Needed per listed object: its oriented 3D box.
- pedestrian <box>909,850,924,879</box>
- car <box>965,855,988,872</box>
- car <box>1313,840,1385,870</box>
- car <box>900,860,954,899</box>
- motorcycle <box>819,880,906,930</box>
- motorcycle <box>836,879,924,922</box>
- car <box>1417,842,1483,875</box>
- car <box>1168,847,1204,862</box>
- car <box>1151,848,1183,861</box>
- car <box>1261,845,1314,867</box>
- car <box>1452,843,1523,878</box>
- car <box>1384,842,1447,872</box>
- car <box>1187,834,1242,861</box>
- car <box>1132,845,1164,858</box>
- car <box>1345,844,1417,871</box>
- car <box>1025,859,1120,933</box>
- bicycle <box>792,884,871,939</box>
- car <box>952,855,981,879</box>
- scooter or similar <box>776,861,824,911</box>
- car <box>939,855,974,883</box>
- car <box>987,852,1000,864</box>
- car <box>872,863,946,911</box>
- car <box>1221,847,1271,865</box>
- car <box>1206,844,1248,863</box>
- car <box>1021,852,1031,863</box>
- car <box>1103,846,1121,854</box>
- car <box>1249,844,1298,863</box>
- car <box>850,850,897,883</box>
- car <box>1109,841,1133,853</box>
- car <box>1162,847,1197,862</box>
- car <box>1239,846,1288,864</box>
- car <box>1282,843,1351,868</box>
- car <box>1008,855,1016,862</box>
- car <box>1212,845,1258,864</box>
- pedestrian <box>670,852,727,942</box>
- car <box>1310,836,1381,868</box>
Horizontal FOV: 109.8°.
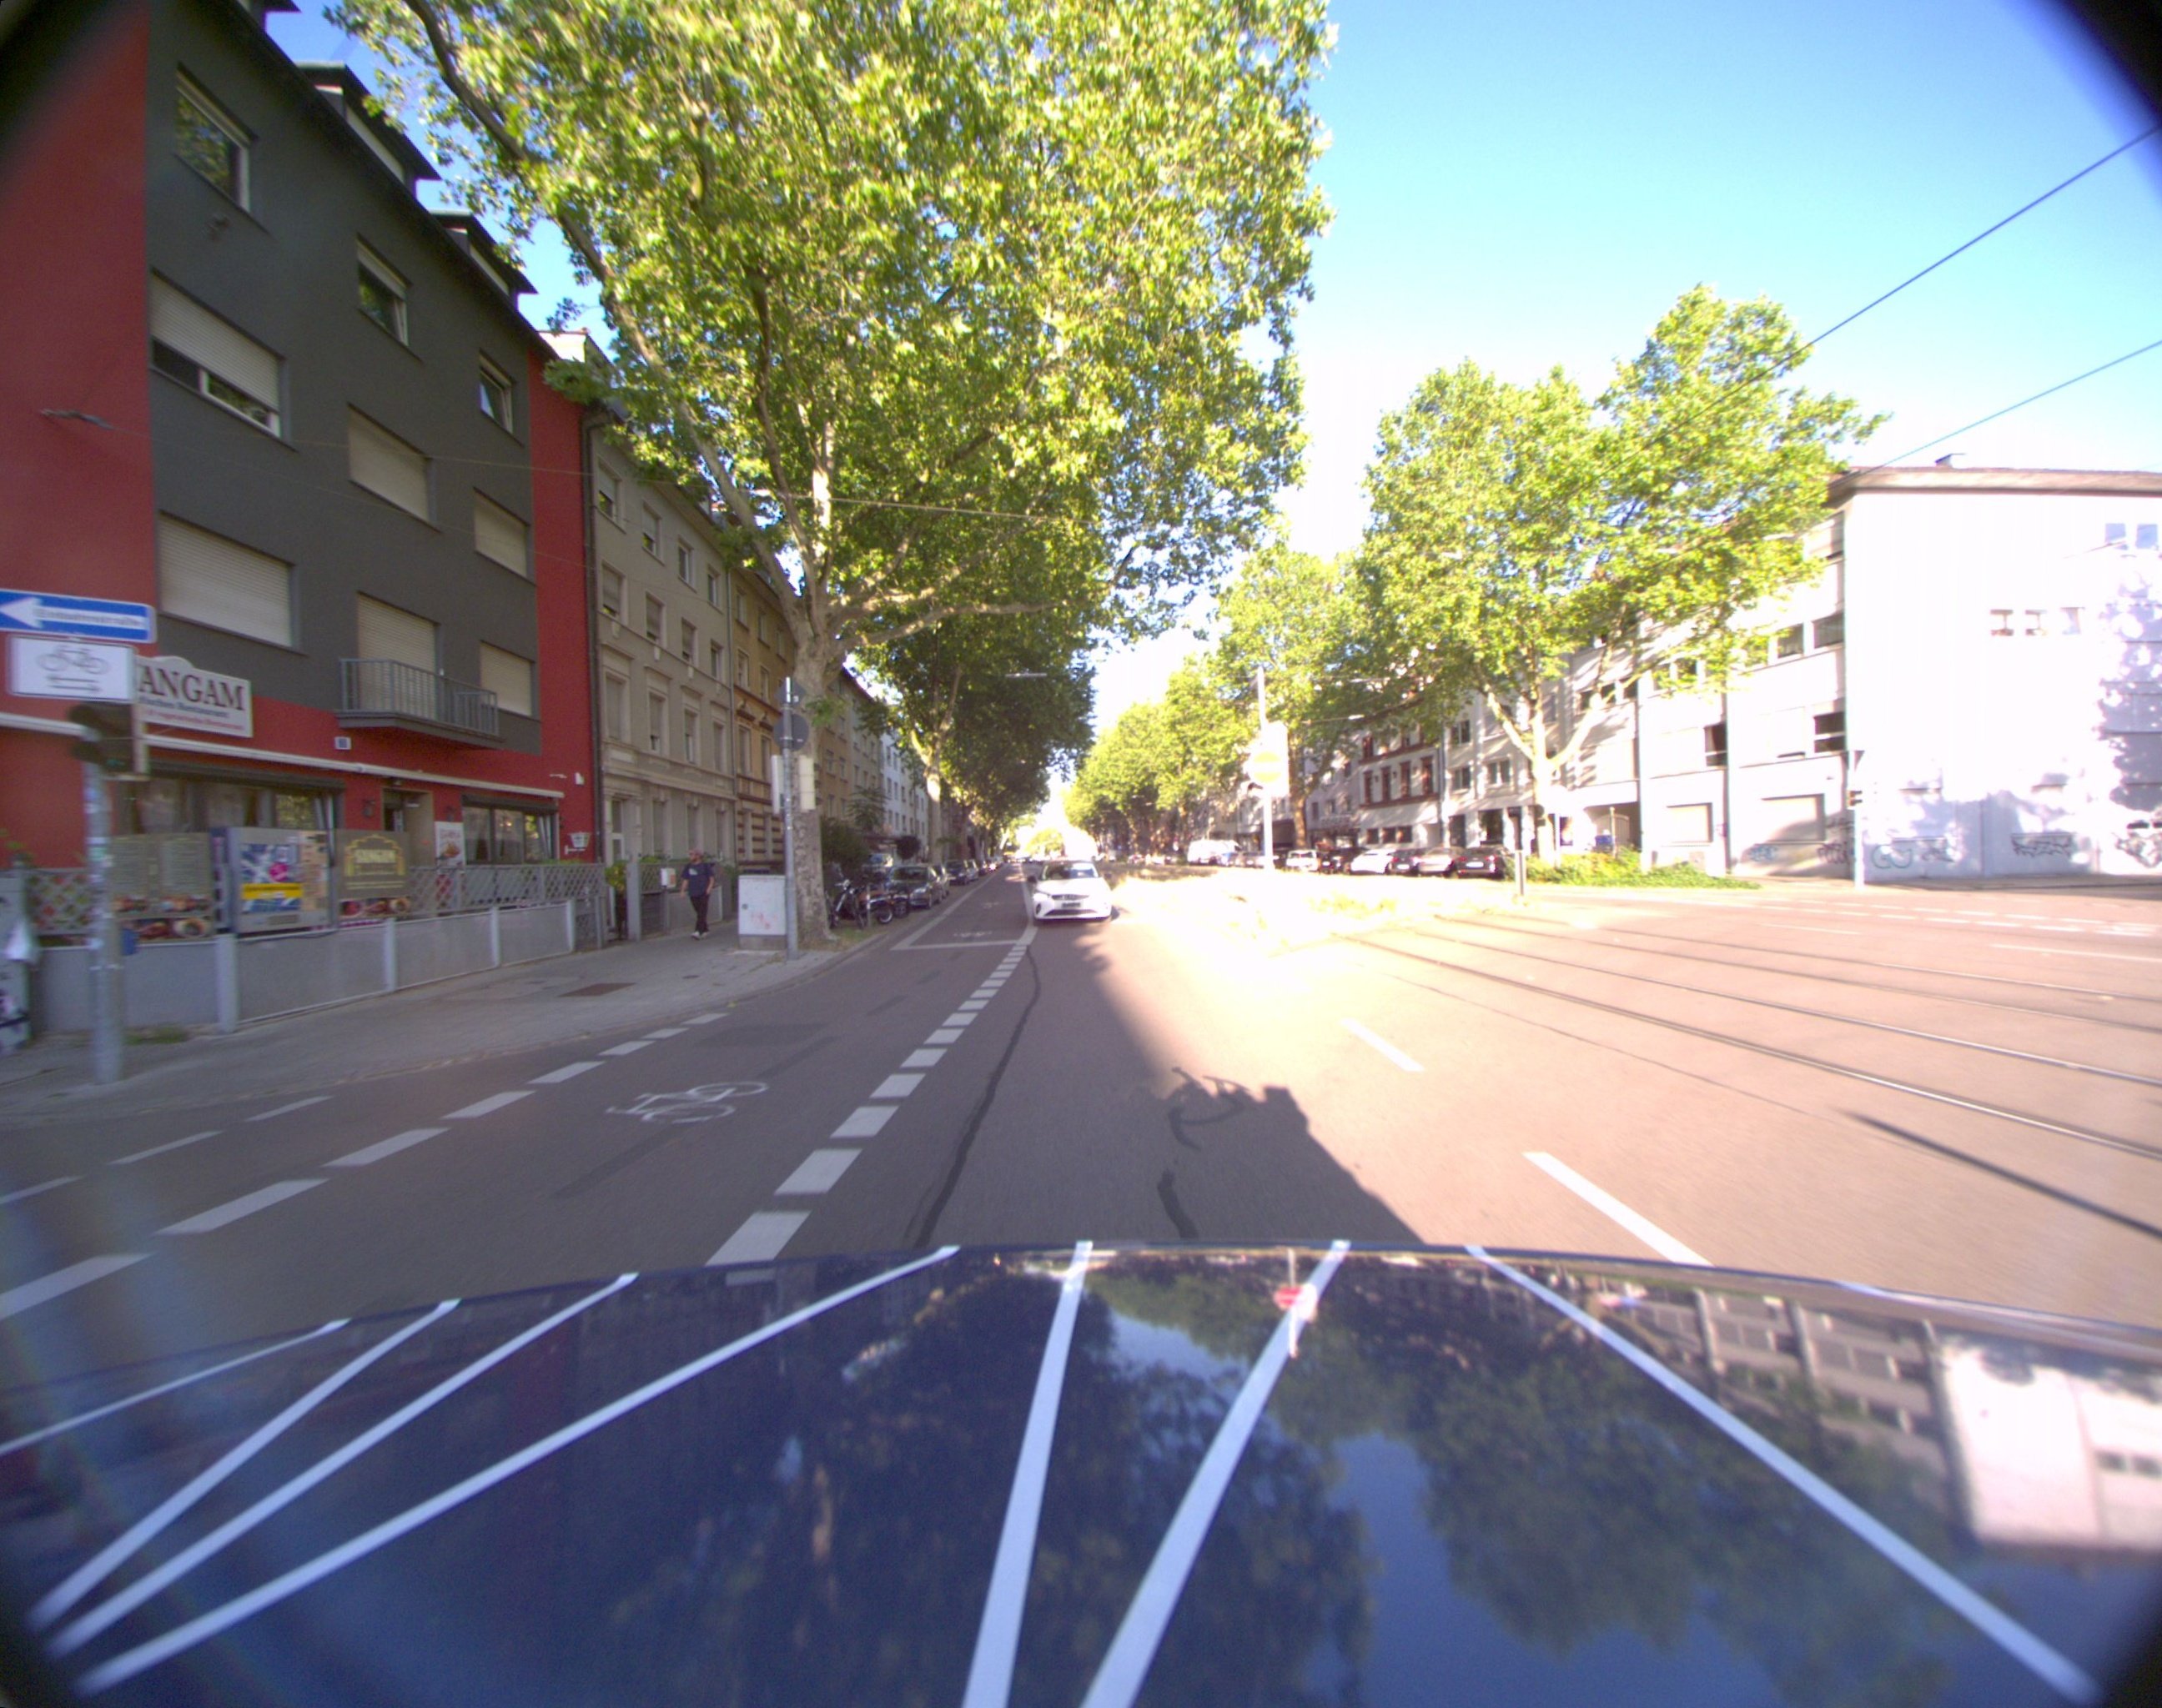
[{"bbox_3d":[-9.164,0.575,42.340,0.728,1.571,0.701,-2,1,-4],"label":"pedestrian"},{"bbox_3d":[-9.334,0.823,67.838,1.803,1.494,4.367,1,0,-5],"label":"car"},{"bbox_3d":[16.175,0.063,45.727,4.265,1.674,2.147,-2,1,-39],"label":"car"},{"bbox_3d":[-6.408,1.013,31.968,1.803,1.446,4.509,1,0,-6],"label":"car"},{"bbox_3d":[-5.285,1.208,18.428,0.783,1.104,1.895,-1,-1,43],"label":"motorcycle"},{"bbox_3d":[-5.418,1.230,20.556,2.217,1.104,0.662,1,-1,-31],"label":"motorcycle"},{"bbox_3d":[17.853,0.211,36.673,1.738,1.424,3.979,-3,-1,43],"label":"car"},{"bbox_3d":[12.988,0.066,93.638,4.006,1.805,1.995,-2,1,-31],"label":"car"},{"bbox_3d":[11.871,0.067,105.125,4.006,1.696,1.995,-2,1,-31],"label":"car"},{"bbox_3d":[15.793,0.141,57.992,4.266,1.605,1.902,-2,1,-43],"label":"car"},{"bbox_3d":[17.960,0.253,33.472,1.767,1.423,3.979,-1,1,43],"label":"car"},{"bbox_3d":[17.697,0.141,40.083,1.827,1.495,3.979,-1,1,43],"label":"car"},{"bbox_3d":[14.292,-0.727,81.533,5.620,2.684,2.175,-2,1,-29],"label":"car"},{"bbox_3d":[9.456,-0.392,107.319,4.236,1.696,1.998,-2,1,-8],"label":"car"},{"bbox_3d":[16.824,0.206,42.531,4.266,1.369,2.147,-2,1,-45],"label":"car"},{"bbox_3d":[-0.325,0.892,17.746,1.866,1.394,3.930,-3,1,-5],"label":"car"},{"bbox_3d":[-5.463,1.237,16.727,0.620,1.104,1.804,0,-1,23],"label":"bicycle"},{"bbox_3d":[-8.139,0.906,54.359,1.803,1.599,4.367,1,0,-5],"label":"car"},{"bbox_3d":[-8.821,0.968,23.937,0.666,1.461,2.543,-2,1,-4],"label":"scooter or similar"},{"bbox_3d":[-7.605,0.901,46.744,1.803,1.599,4.367,1,0,-5],"label":"car"},{"bbox_3d":[-12.485,0.540,108.627,1.803,1.599,4.102,1,0,-5],"label":"car"},{"bbox_3d":[-5.738,1.066,25.839,1.803,1.393,4.368,1,0,-4],"label":"car"},{"bbox_3d":[14.983,0.155,69.126,4.005,1.509,1.996,-2,1,-25],"label":"car"},{"bbox_3d":[15.142,-0.085,78.847,4.006,1.805,1.995,-2,1,-31],"label":"car"},{"bbox_3d":[-10.903,0.679,150.753,1.999,2.002,3.998,-3,1,-4],"label":"car"},{"bbox_3d":[7.279,-0.856,177.136,3.995,1.802,1.874,-2,1,5],"label":"car"},{"bbox_3d":[15.661,-0.041,61.684,4.265,1.451,1.598,-2,1,-40],"label":"car"},{"bbox_3d":[-12.545,0.699,46.118,1.934,1.864,4.675,1,0,-5],"label":"car"},{"bbox_3d":[8.193,-1.378,153.768,2.096,2.200,4.951,-1,1,44],"label":"car"},{"bbox_3d":[12.553,0.060,96.884,4.006,1.805,1.995,-2,1,-31],"label":"car"},{"bbox_3d":[15.639,0.057,64.970,4.265,1.449,1.902,-2,1,-40],"label":"car"},{"bbox_3d":[15.705,0.100,50.620,4.261,1.549,1.640,-2,1,-20],"label":"car"},{"bbox_3d":[-20.309,1.182,223.690,1.998,1.850,3.999,-3,1,1],"label":"car"},{"bbox_3d":[14.646,0.042,72.235,4.006,1.608,1.995,-2,1,-31],"label":"car"},{"bbox_3d":[-7.461,0.818,14.850,0.728,1.701,0.815,1,1,-4],"label":"pedestrian"},{"bbox_3d":[17.087,-0.154,49.049,4.261,1.932,1.514,-2,1,-20],"label":"car"}]
